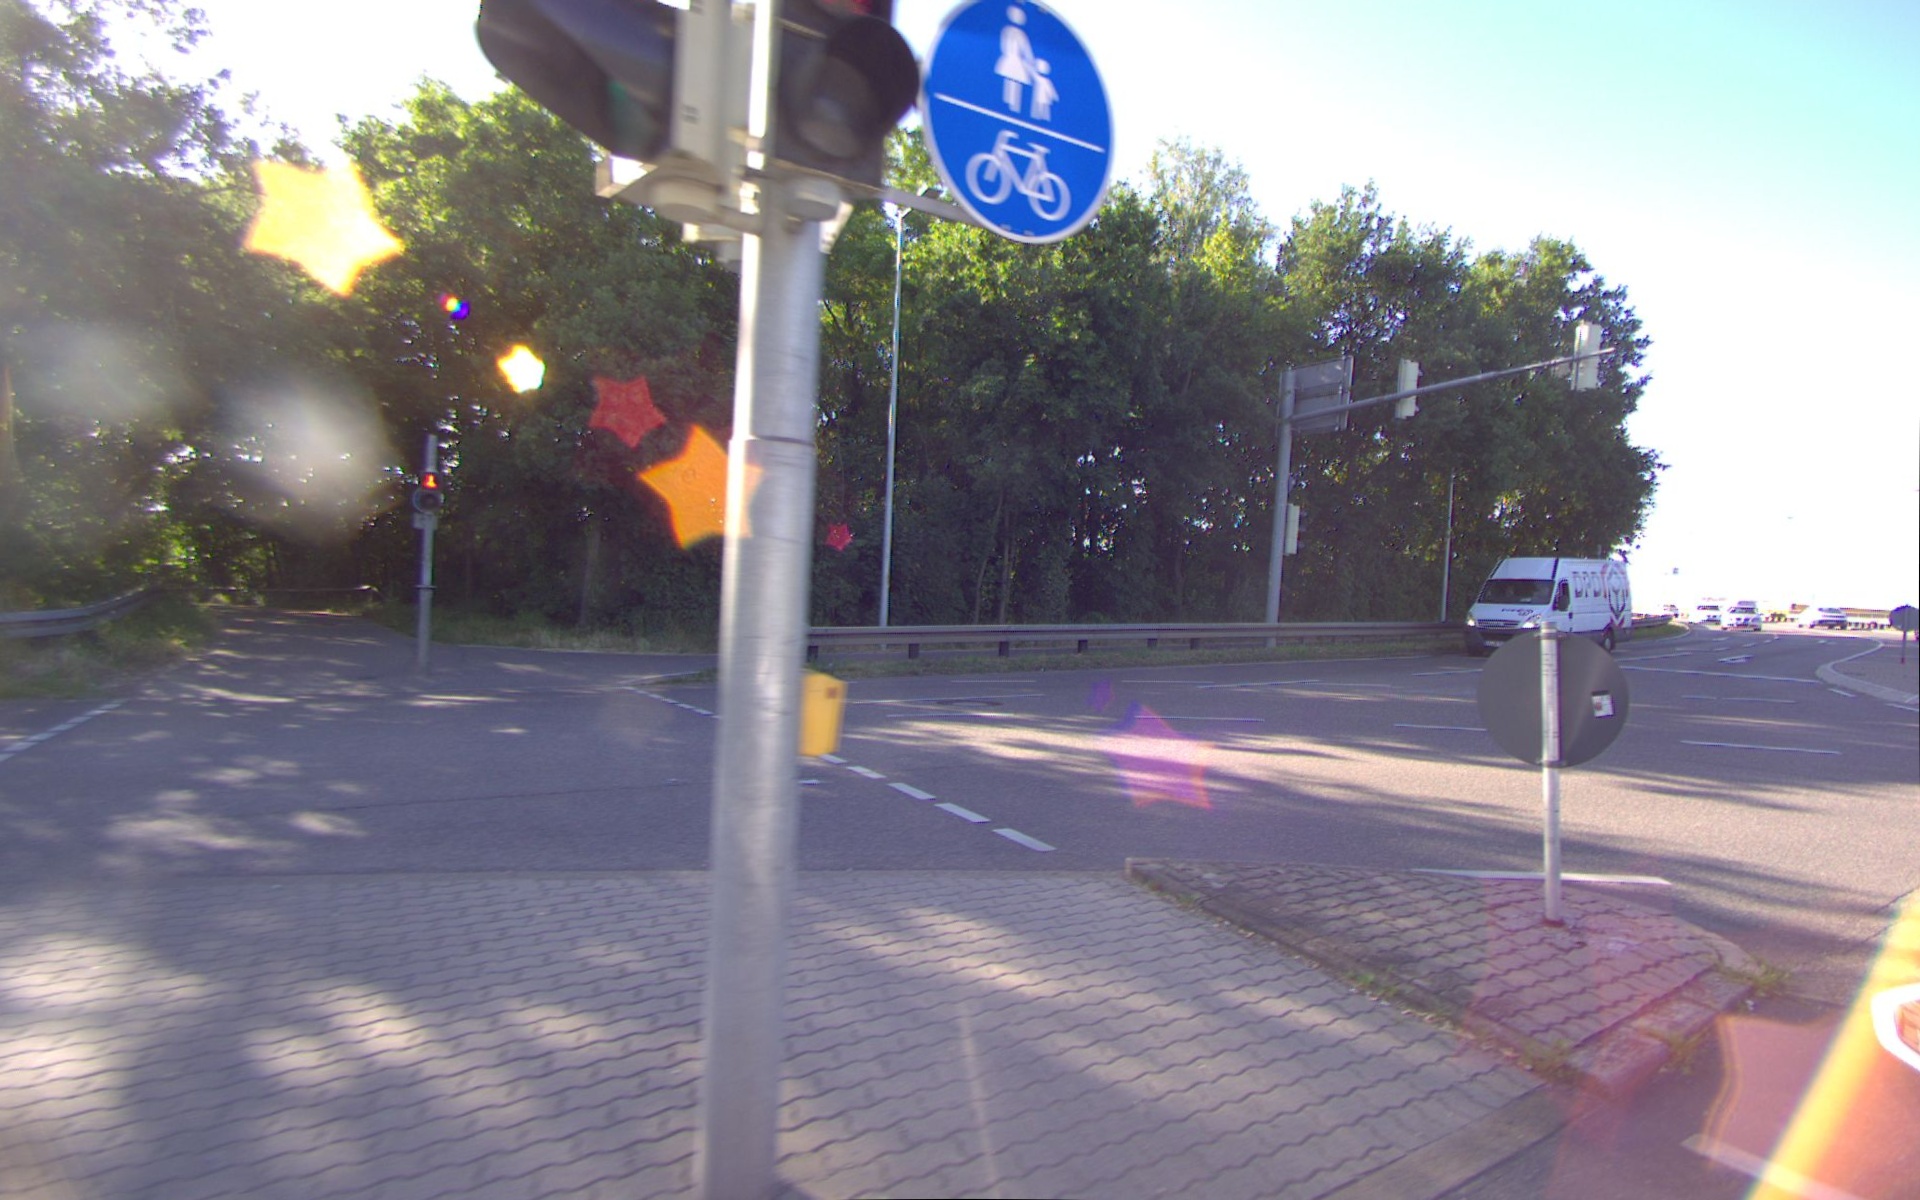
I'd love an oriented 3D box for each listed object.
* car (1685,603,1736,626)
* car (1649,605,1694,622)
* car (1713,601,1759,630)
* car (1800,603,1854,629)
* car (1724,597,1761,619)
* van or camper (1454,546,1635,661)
[{"bbox_3d":[52.924,1.003,70.909,2.064,1.409,4.405,3,2,27],"label":"car"},{"bbox_3d":[70.912,1.319,100.176,2.228,1.528,4.001,3,1,14],"label":"car"},{"bbox_3d":[44.222,0.841,57.320,1.844,1.494,3.896,3,2,35],"label":"car"},{"bbox_3d":[56.521,1.027,65.536,1.941,1.494,4.144,3,2,31],"label":"car"},{"bbox_3d":[65.542,0.674,84.191,1.940,1.721,3.991,3,2,31],"label":"car"},{"bbox_3d":[15.740,0.114,26.810,6.878,2.709,2.032,1,0,-41],"label":"van or camper"}]
